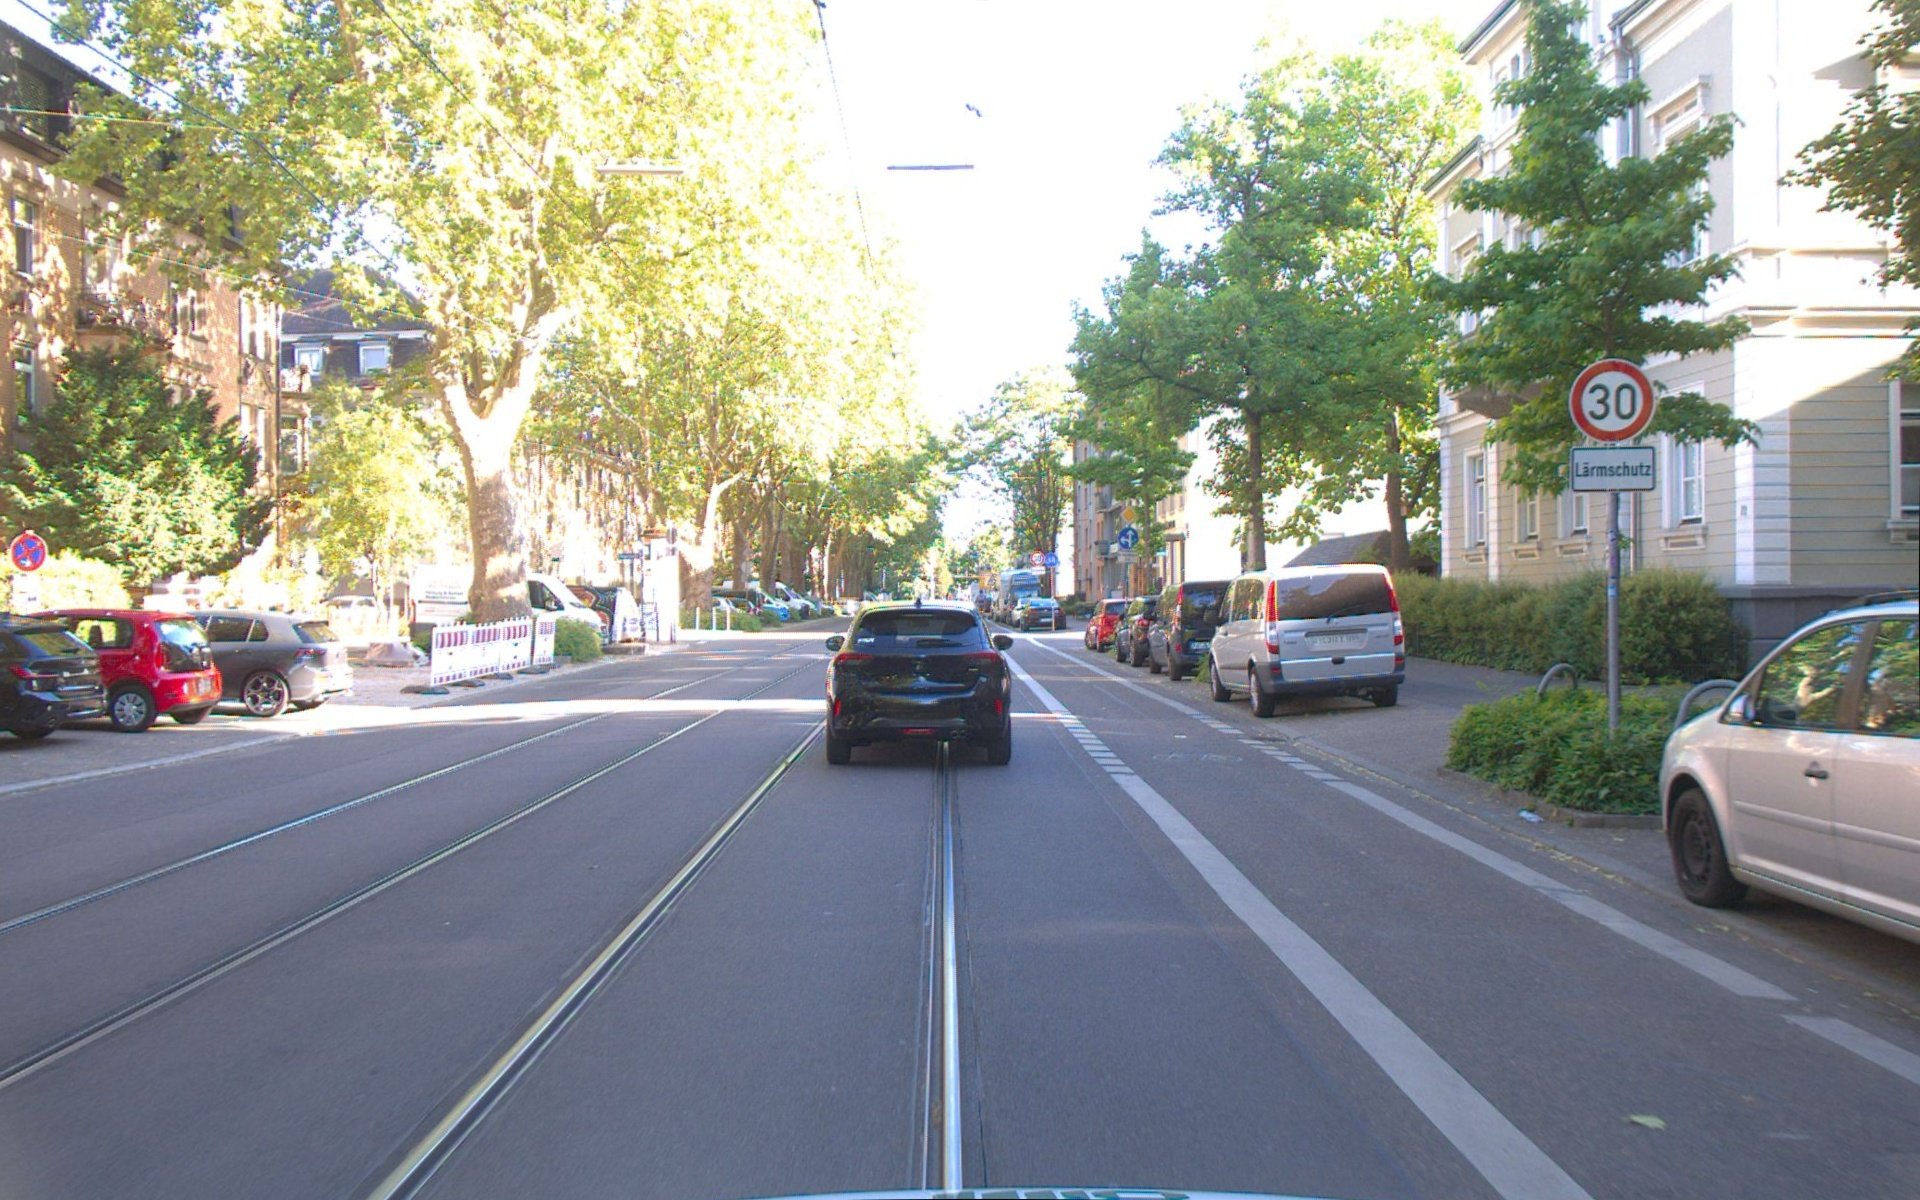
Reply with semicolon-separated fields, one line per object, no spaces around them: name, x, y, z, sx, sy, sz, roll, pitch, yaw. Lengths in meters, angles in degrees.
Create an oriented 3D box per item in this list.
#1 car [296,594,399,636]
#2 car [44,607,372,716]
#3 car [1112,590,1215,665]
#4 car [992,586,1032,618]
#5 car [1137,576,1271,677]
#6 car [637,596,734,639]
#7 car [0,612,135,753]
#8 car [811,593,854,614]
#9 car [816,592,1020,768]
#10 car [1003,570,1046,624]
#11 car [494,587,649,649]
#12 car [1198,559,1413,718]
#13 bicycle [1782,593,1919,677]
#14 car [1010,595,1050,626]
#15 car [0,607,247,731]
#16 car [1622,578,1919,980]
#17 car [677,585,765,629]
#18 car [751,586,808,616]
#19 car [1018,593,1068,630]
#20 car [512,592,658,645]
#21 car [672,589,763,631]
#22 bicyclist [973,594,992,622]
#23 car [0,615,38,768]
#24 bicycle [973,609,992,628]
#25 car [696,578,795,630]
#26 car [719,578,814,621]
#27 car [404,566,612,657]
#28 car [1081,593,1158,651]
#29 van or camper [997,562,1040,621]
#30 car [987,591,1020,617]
car;-24.713;0.578;66.914;1.816;1.620;4.744;0;0;9
car;-10.840;0.866;24.061;3.906;1.490;1.854;0;0;-1
car;4.600;0.597;37.877;1.677;1.540;4.035;-3;0;-2
car;3.231;0.136;103.919;2.208;1.873;5.530;-2;0;-1
car;4.666;0.482;32.247;1.847;1.797;4.677;-1;0;-1
car;-12.512;0.785;75.567;4.220;1.621;1.779;-4;0;-8
car;-11.793;0.888;18.706;3.998;1.490;1.821;0;0;1
car;-12.692;0.332;164.851;3.902;2.049;2.001;0;0;6
car;-0.366;0.680;16.067;1.727;1.486;3.950;0;0;0
car;3.474;-0.201;90.159;2.042;2.820;4.697;-2;1;-1
car;-11.555;0.527;49.440;4.214;1.832;1.925;0;0;-3
car;4.675;0.475;23.149;1.846;1.883;4.966;-3;0;-1
bicycle;11.785;0.454;21.547;1.874;1.054;0.562;-1;0;-1
car;3.501;0.562;82.953;1.767;1.459;3.999;-2;-1;-1
car;-11.211;0.852;21.209;3.349;1.490;1.760;0;0;1
car;4.813;0.713;7.470;1.846;1.595;4.241;-3;0;-1
car;-11.935;0.359;82.661;4.220;1.872;1.779;-4;0;-8
car;-12.598;0.076;115.360;3.914;2.049;1.996;0;0;-10
car;3.611;0.489;72.781;1.846;1.459;4.529;-3;0;-1
car;-11.749;0.566;52.071;4.214;1.635;1.925;0;0;-3
car;-11.747;0.473;80.335;4.220;1.703;1.779;-4;0;-8
bicyclist;1.216;0.437;90.040;0.939;1.525;1.093;0;0;-2
car;-11.175;0.894;16.015;3.527;1.490;1.687;0;0;1
bicycle;1.225;0.989;90.062;0.948;1.016;2.582;0;0;-2
car;-11.555;0.221;89.363;4.934;2.415;2.081;-4;0;0
car;-11.907;-0.034;102.074;5.521;2.638;2.197;0;0;3
car;-11.808;0.296;43.484;4.933;2.299;2.084;0;0;-4
car;4.448;0.586;46.703;1.668;1.448;3.978;-4;0;-1
van or camper;3.386;-0.486;96.723;2.208;3.272;5.530;-2;0;-1
car;3.261;0.307;125.339;2.208;1.873;5.530;-2;0;-1
